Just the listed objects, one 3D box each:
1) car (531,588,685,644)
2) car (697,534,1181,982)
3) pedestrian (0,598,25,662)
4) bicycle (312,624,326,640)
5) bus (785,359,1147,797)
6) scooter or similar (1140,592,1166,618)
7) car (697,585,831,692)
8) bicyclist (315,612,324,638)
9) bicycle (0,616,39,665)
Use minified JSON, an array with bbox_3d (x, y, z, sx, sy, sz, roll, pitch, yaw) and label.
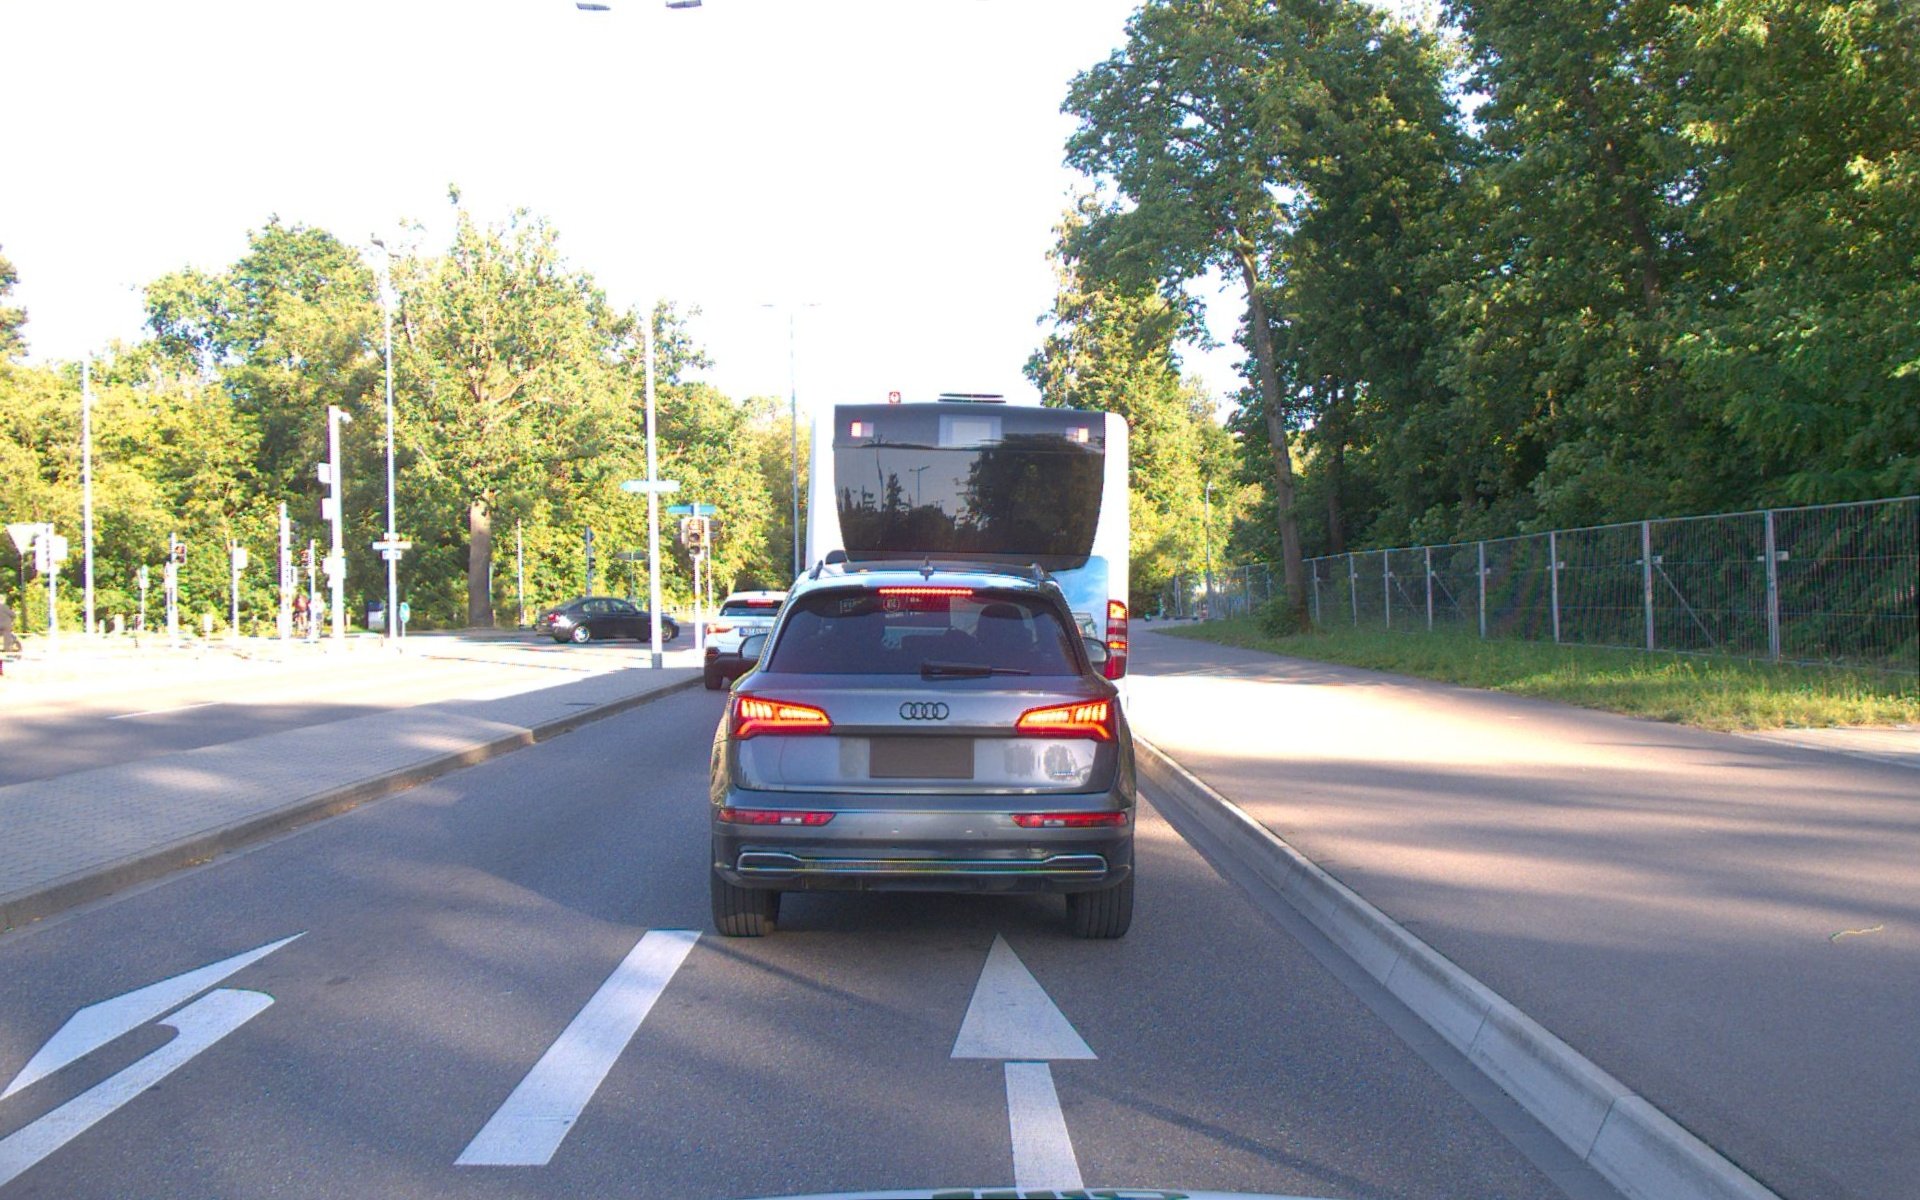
[{"bbox_3d":[-10.930,0.507,51.393,4.272,1.681,1.978,1,0,-32],"label":"car"},{"bbox_3d":[-0.107,0.584,8.349,1.830,1.693,4.000,1,1,-1],"label":"car"},{"bbox_3d":[-24.139,0.759,41.941,0.472,1.589,0.648,1,-1,-1],"label":"pedestrian"},{"bbox_3d":[-24.699,1.218,63.712,0.261,0.592,0.838,1,0,-6],"label":"bicycle"},{"bbox_3d":[0.065,-0.201,15.174,2.623,3.196,5.882,1,1,0],"label":"bus"},{"bbox_3d":[9.138,0.251,78.148,1.158,1.195,0.659,1,0,11],"label":"scooter or similar"},{"bbox_3d":[-3.175,0.583,27.497,1.771,1.599,4.000,1,1,-1],"label":"car"},{"bbox_3d":[-24.707,0.964,63.770,0.268,0.979,0.240,1,-1,-8],"label":"bicyclist"},{"bbox_3d":[-24.132,1.027,41.931,0.458,1.198,2.003,1,0,-1],"label":"bicycle"}]
